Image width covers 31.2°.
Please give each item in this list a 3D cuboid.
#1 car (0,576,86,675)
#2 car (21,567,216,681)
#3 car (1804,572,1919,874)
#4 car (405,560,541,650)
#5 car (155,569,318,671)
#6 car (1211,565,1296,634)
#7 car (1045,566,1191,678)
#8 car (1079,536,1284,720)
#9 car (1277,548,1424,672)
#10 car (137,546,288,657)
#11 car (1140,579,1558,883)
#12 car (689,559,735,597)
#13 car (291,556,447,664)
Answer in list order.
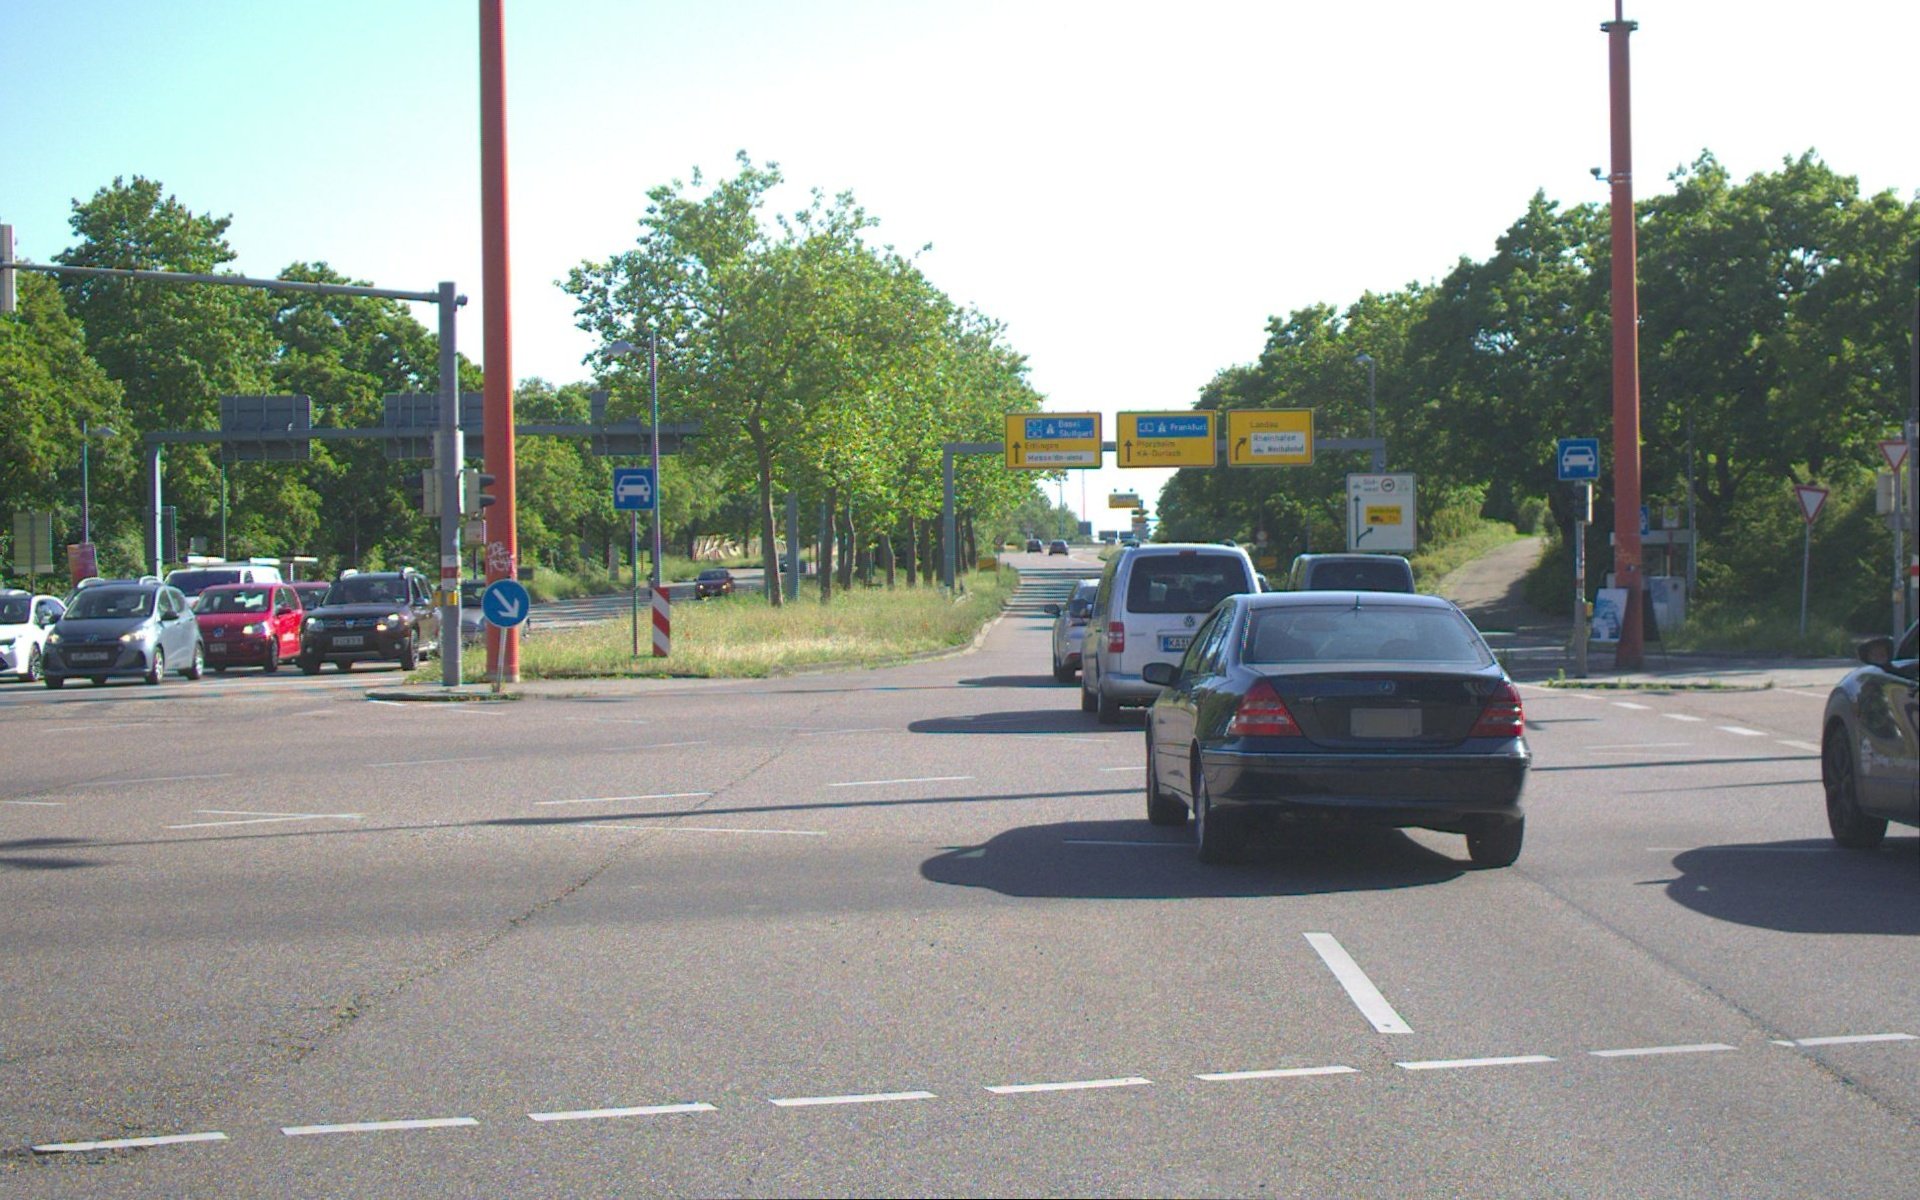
[{"bbox_3d":[-15.806,0.414,56.526,1.901,1.549,4.000,-1,0,-1],"label":"car"},{"bbox_3d":[-12.553,0.326,51.496,1.874,1.545,4.028,-2,1,0],"label":"car"},{"bbox_3d":[5.678,0.624,17.497,1.768,1.503,4.225,1,0,1],"label":"car"},{"bbox_3d":[-8.883,0.075,63.008,1.885,1.538,4.000,-2,1,0],"label":"car"},{"bbox_3d":[-12.124,0.318,57.829,1.875,1.547,4.000,-3,0,-1],"label":"car"},{"bbox_3d":[6.989,-0.018,82.088,1.716,1.602,3.847,1,0,0],"label":"car"},{"bbox_3d":[2.202,0.296,49.025,1.804,1.488,4.682,1,0,0],"label":"car"},{"bbox_3d":[2.276,0.272,36.368,1.804,1.815,4.587,0,0,-1],"label":"car"},{"bbox_3d":[6.140,0.130,54.522,1.804,1.845,5.103,-1,1,1],"label":"car"},{"bbox_3d":[-15.176,0.007,70.070,1.961,2.148,5.082,-1,0,0],"label":"car"},{"bbox_3d":[2.031,0.632,19.063,1.713,1.449,4.198,-1,1,-2],"label":"car"},{"bbox_3d":[-12.097,-1.096,167.953,1.915,1.840,3.961,0,1,0],"label":"car"},{"bbox_3d":[-9.498,0.131,55.536,1.793,1.620,4.143,-2,1,-1],"label":"car"}]
